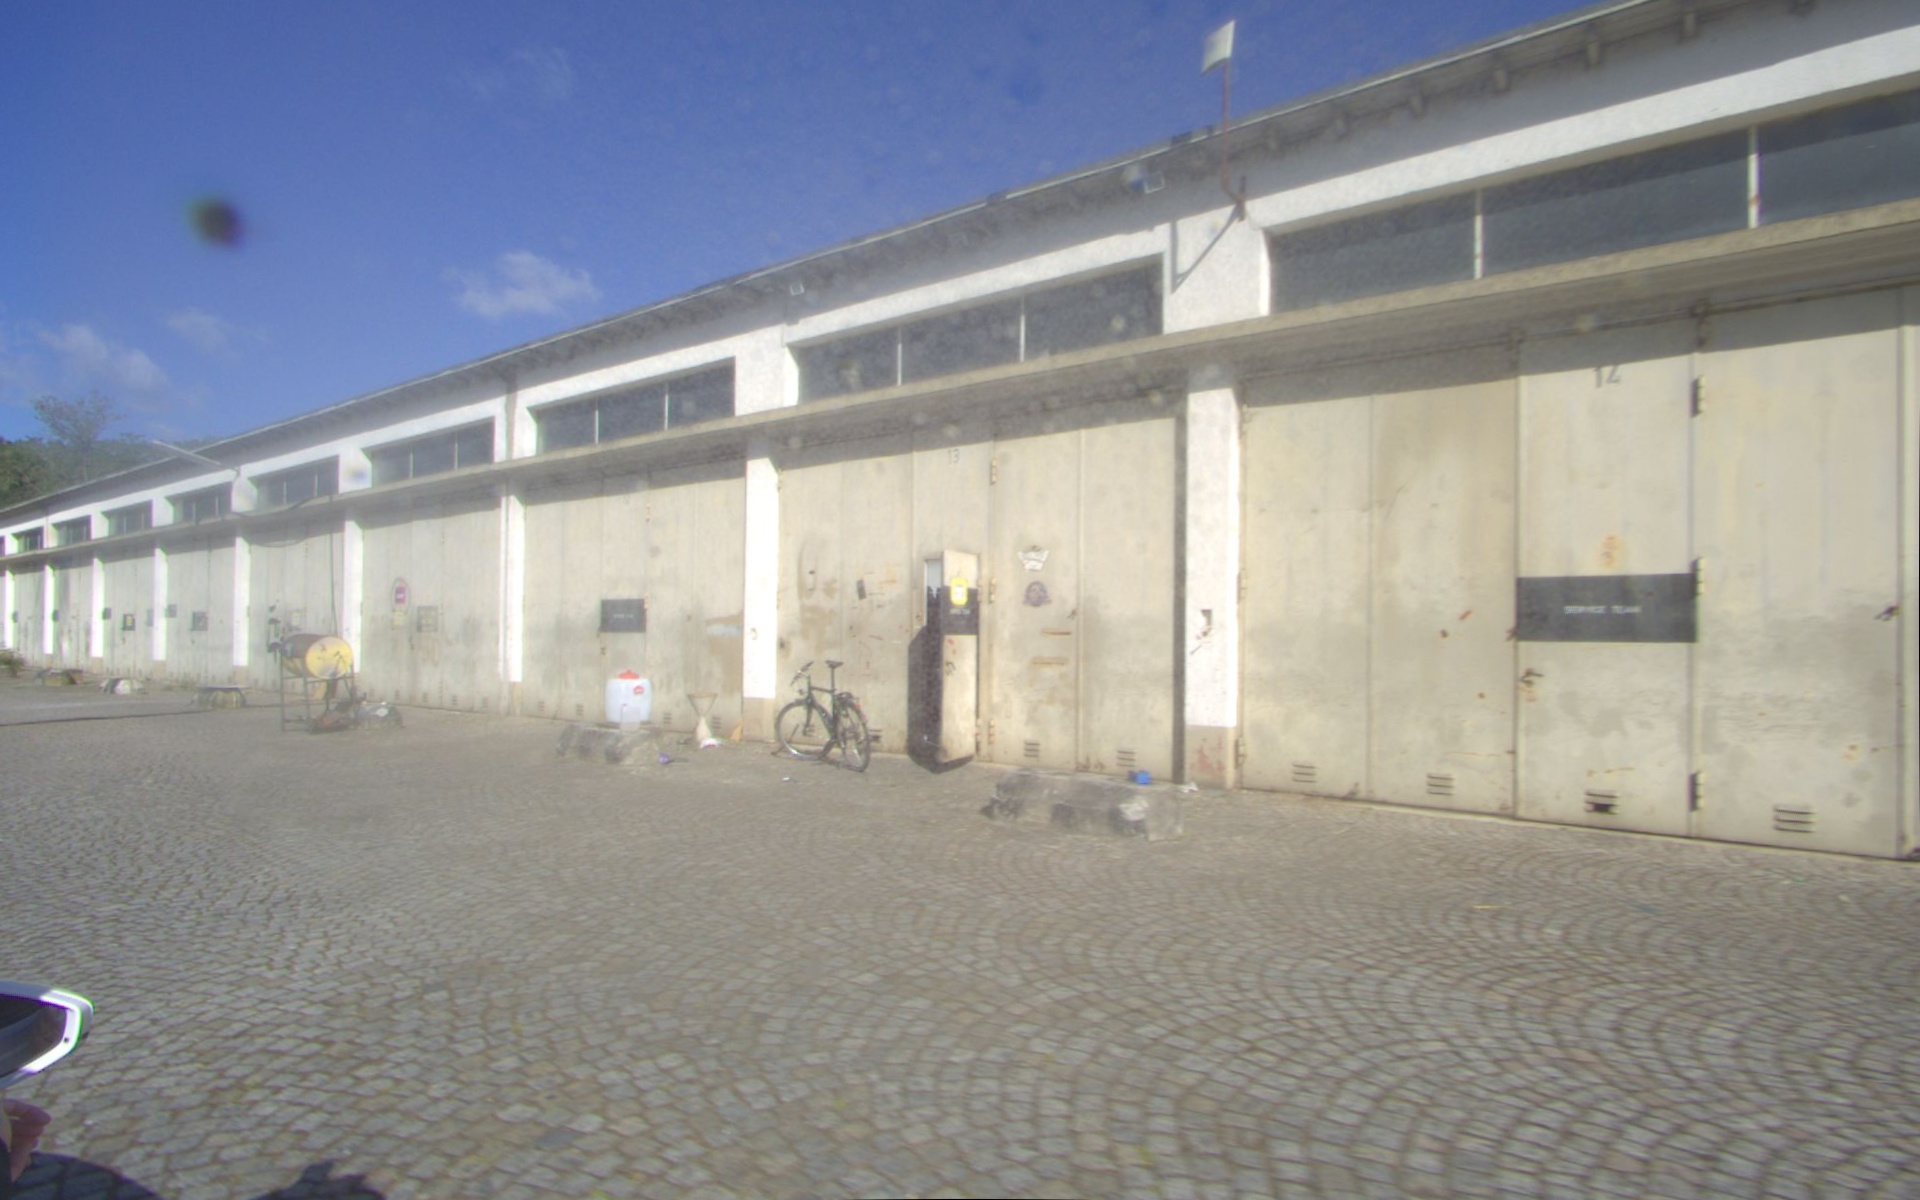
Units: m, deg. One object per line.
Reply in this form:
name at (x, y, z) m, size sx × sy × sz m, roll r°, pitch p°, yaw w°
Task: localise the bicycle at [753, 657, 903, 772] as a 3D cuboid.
bicycle at (-1.415, 1.151, 10.507) m, size 0.660 × 1.081 × 1.808 m, roll 3°, pitch -4°, yaw -41°
